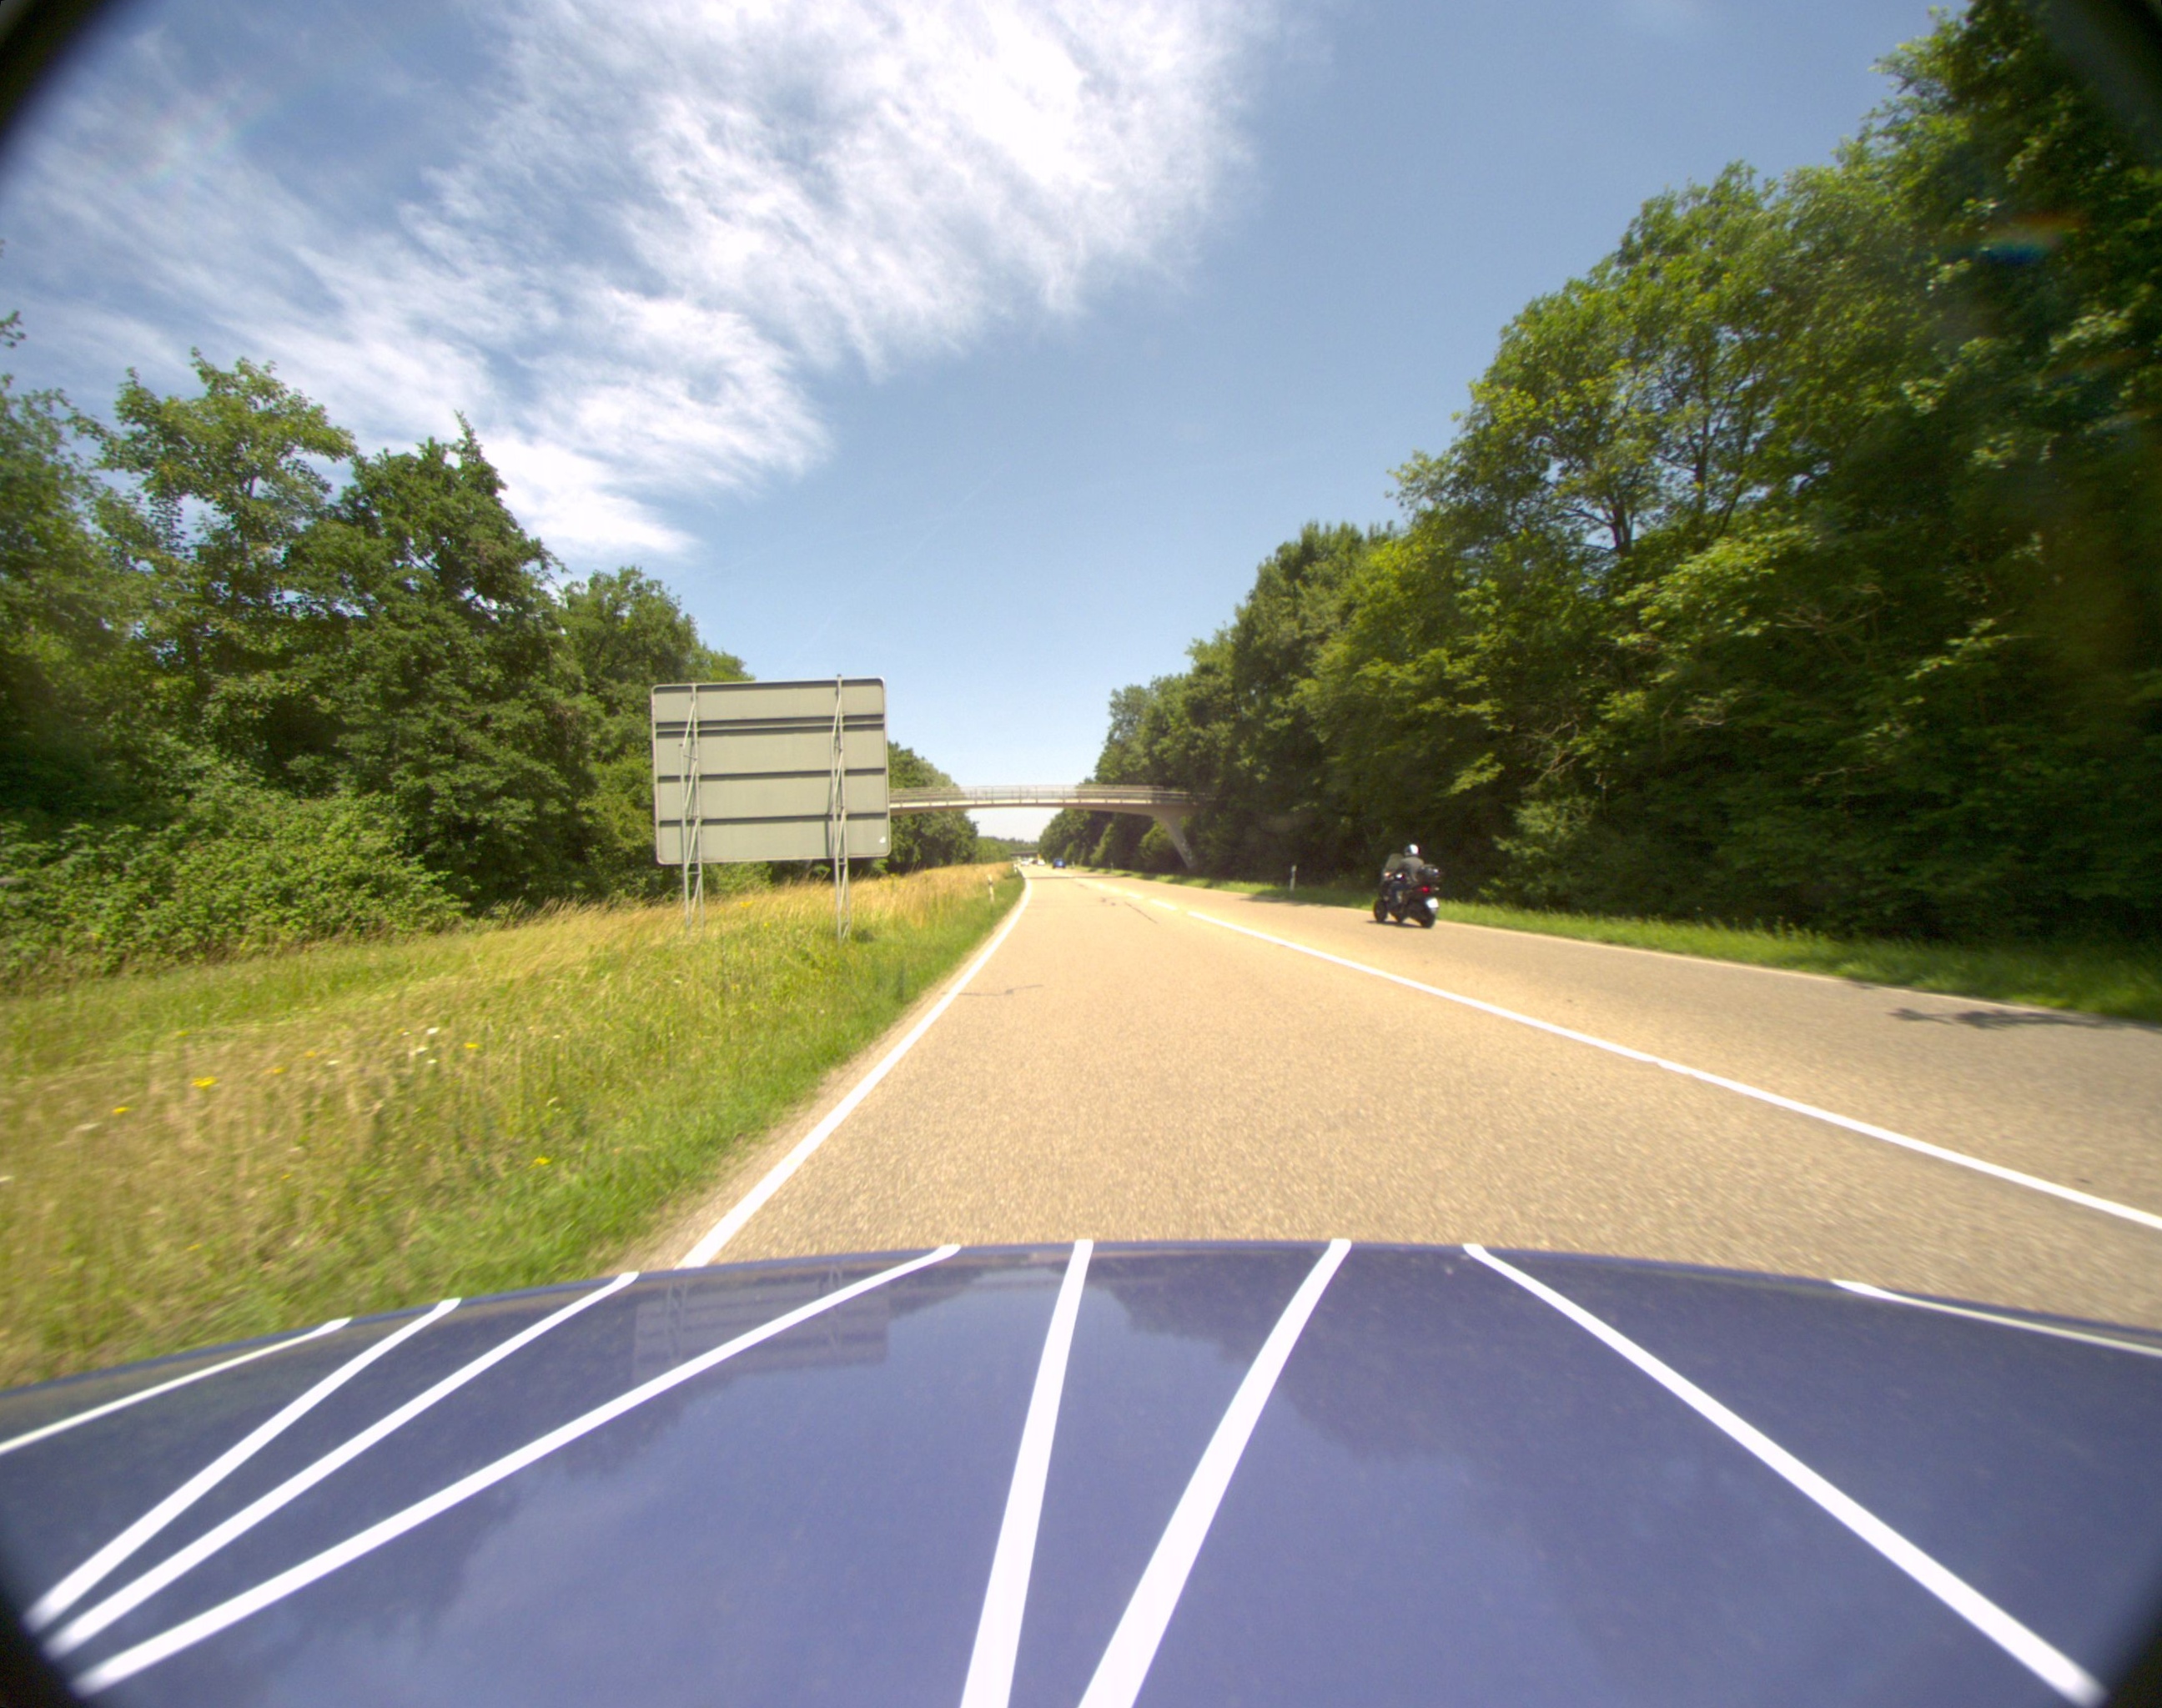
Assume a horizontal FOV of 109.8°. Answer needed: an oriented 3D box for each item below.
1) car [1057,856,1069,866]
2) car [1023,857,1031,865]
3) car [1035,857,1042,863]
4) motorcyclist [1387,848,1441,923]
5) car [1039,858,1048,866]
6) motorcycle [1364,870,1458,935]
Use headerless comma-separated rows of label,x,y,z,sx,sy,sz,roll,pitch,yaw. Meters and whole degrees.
car,-2.943,1.099,123.194,1.828,1.580,4.417,0,0,-5
car,-12.618,1.718,177.882,1.866,1.747,3.998,-2,0,-6
car,-13.012,1.763,230.240,1.866,1.747,3.998,-2,0,-6
motorcyclist,6.746,0.615,15.420,0.672,1.467,0.813,-2,1,-8
car,-9.381,2.027,188.759,1.866,1.747,3.998,-2,0,-6
motorcycle,6.712,0.955,15.604,0.672,1.167,2.229,-2,0,-9
